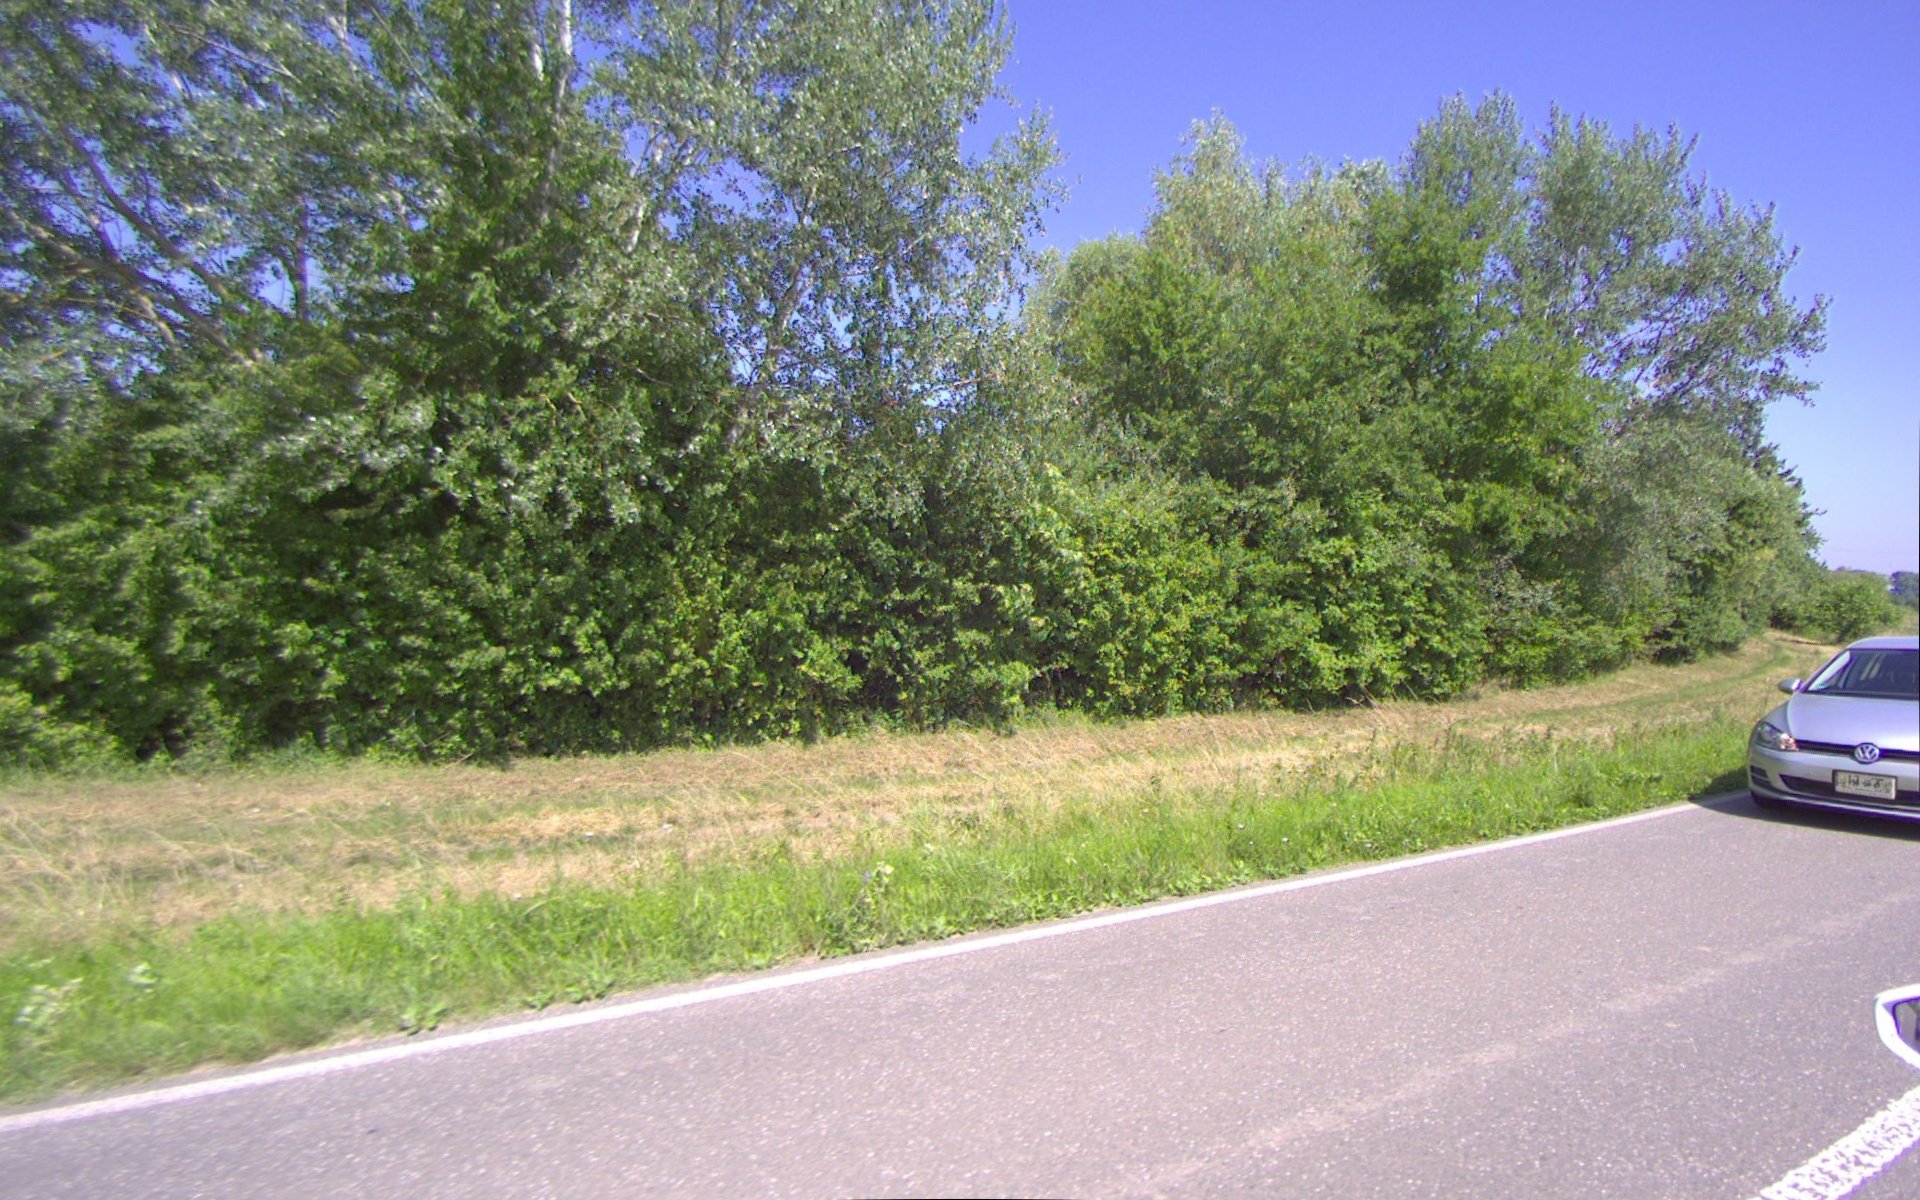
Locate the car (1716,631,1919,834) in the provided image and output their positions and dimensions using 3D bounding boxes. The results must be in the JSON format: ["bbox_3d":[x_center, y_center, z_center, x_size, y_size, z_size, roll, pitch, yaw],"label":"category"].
[{"bbox_3d":[8.362,0.995,8.553,4.015,1.446,1.774,1,-2,-32],"label":"car"}]
